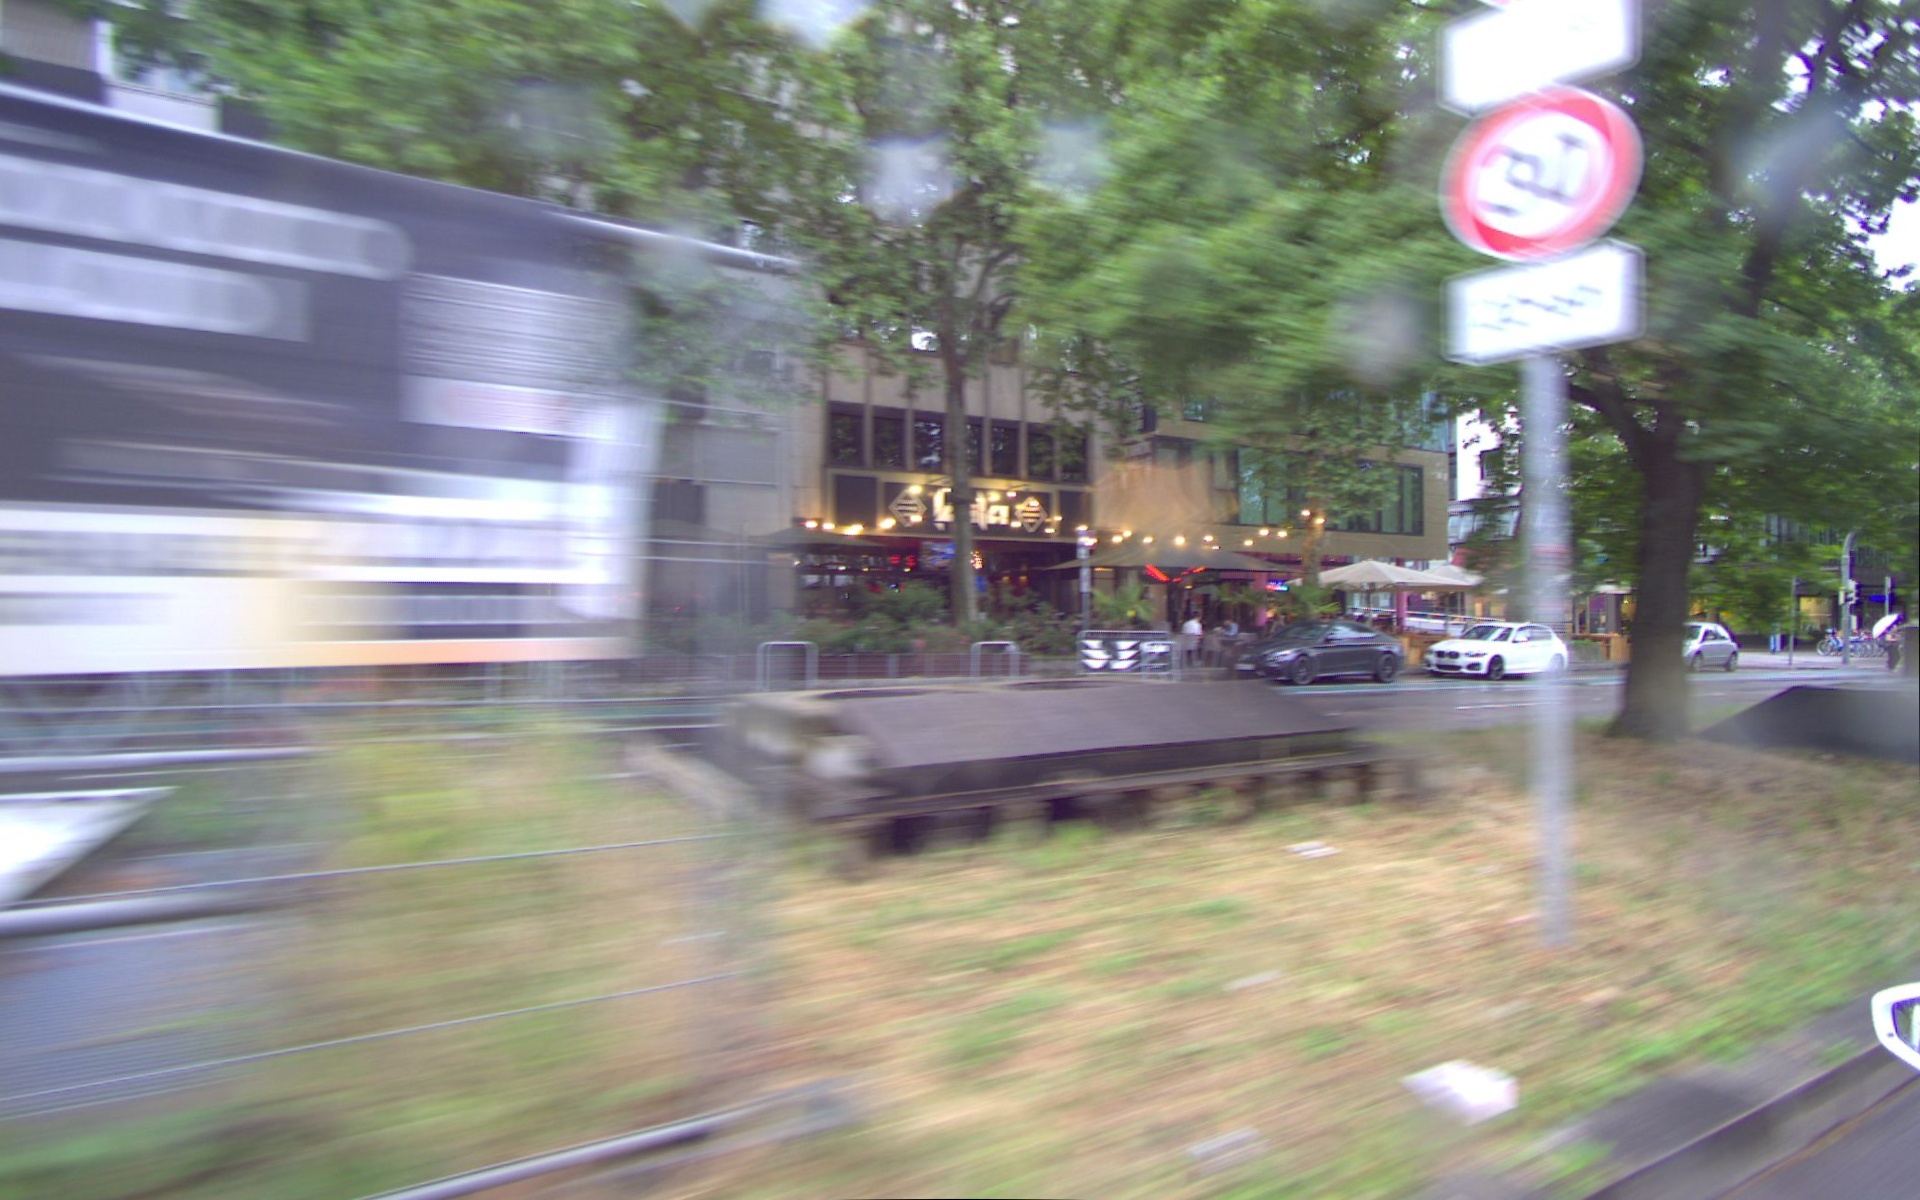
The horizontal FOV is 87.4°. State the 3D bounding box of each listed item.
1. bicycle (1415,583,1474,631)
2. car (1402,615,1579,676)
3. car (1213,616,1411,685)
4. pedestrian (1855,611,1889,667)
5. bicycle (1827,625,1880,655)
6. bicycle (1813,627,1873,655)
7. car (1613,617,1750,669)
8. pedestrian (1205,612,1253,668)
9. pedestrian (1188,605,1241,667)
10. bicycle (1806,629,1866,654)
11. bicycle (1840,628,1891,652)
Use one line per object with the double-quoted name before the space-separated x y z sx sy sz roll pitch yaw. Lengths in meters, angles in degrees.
"bicycle" 21.348 0.313 44.280 0.682 2.040 2.374 1 -1 -31
"car" 13.884 1.145 26.253 4.486 1.388 1.984 1 2 -30
"car" 8.060 1.100 22.892 4.430 1.413 1.816 1 0 -30
"pedestrian" 31.106 1.314 34.263 0.835 1.892 0.719 1 0 -38
"bicycle" 38.121 1.690 42.861 0.505 1.258 1.606 1 0 -36
"bicycle" 37.445 1.719 42.594 0.609 1.112 1.831 1 -1 -37
"car" 22.771 1.321 31.671 4.468 1.529 1.983 1 -1 -32
"pedestrian" 6.887 1.005 25.732 0.923 1.398 0.759 1 0 -33
"pedestrian" 6.366 0.899 25.141 0.963 1.508 0.824 1 0 -33
"bicycle" 36.693 1.730 42.102 0.560 0.992 1.834 1 -1 -32
"bicycle" 39.310 1.732 43.623 0.505 0.975 1.606 1 -1 -36
